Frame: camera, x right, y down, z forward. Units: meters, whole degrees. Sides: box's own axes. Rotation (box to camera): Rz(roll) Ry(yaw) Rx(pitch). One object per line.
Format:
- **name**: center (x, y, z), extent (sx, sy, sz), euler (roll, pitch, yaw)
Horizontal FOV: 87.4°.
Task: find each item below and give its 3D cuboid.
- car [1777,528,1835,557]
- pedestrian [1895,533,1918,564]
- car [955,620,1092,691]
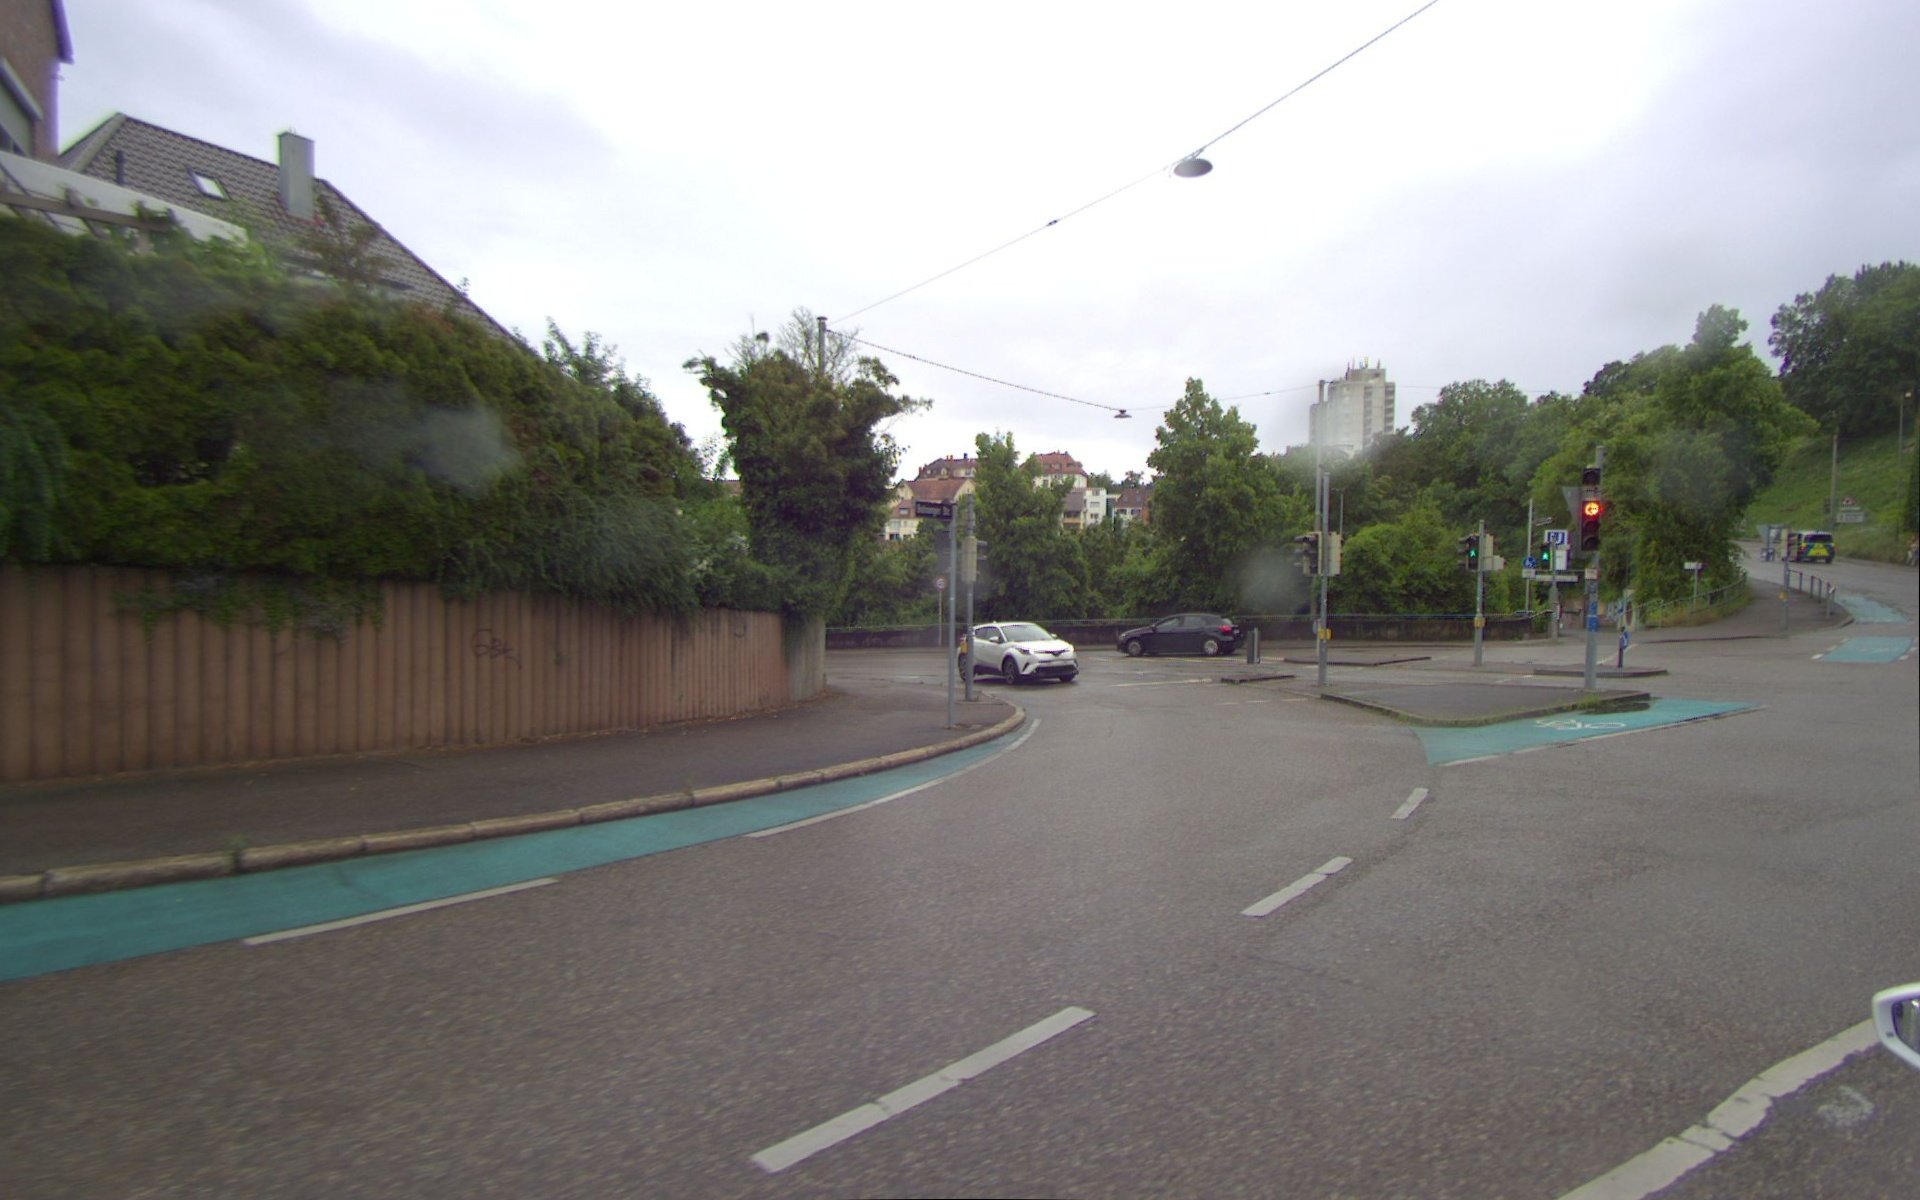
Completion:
- **car**: center (55.633, -3.767, 66.118), extent (1.888, 1.805, 3.995), euler (2, 3, 26)
- **pedestrian**: center (55.182, -2.988, 58.568), extent (0.870, 1.759, 0.861), euler (2, 0, 40)
- **car**: center (1.549, 1.423, 26.012), extent (1.812, 1.527, 3.861), euler (-5, -1, -25)
